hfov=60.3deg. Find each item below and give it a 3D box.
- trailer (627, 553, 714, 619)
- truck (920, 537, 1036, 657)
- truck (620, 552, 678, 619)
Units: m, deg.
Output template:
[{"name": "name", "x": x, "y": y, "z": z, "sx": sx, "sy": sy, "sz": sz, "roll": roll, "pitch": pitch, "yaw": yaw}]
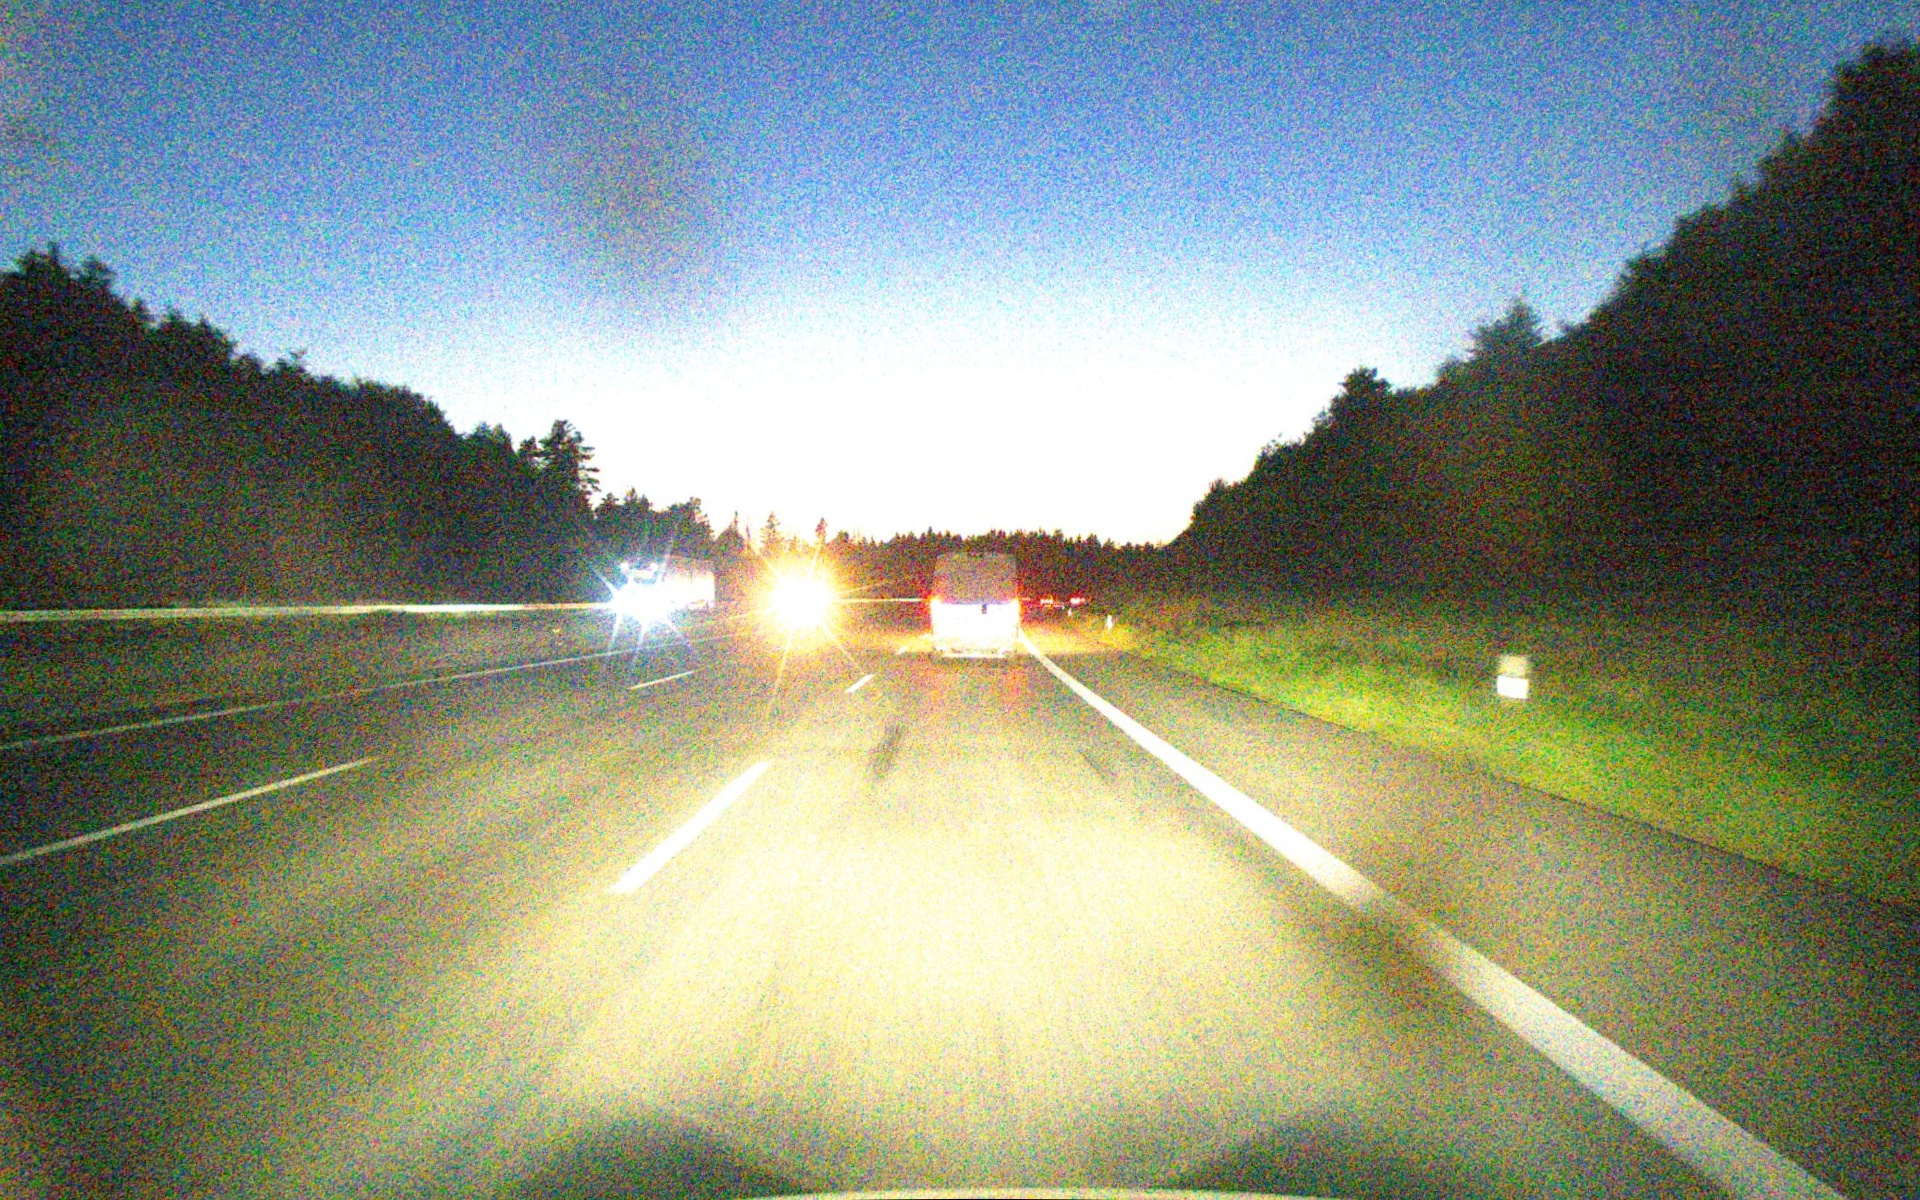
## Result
[{"name": "trailer", "x": -20.298, "y": -0.863, "z": 117.189, "sx": 2.633, "sy": 4.292, "sz": 17.256, "roll": 0, "pitch": -1, "yaw": 2}, {"name": "truck", "x": 0.471, "y": -0.031, "z": 41.224, "sx": 2.576, "sy": 2.670, "sz": 8.685, "roll": 1, "pitch": -1, "yaw": 1}, {"name": "truck", "x": -20.541, "y": -0.916, "z": 109.455, "sx": 2.657, "sy": 4.272, "sz": 5.421, "roll": 0, "pitch": -1, "yaw": 2}]
